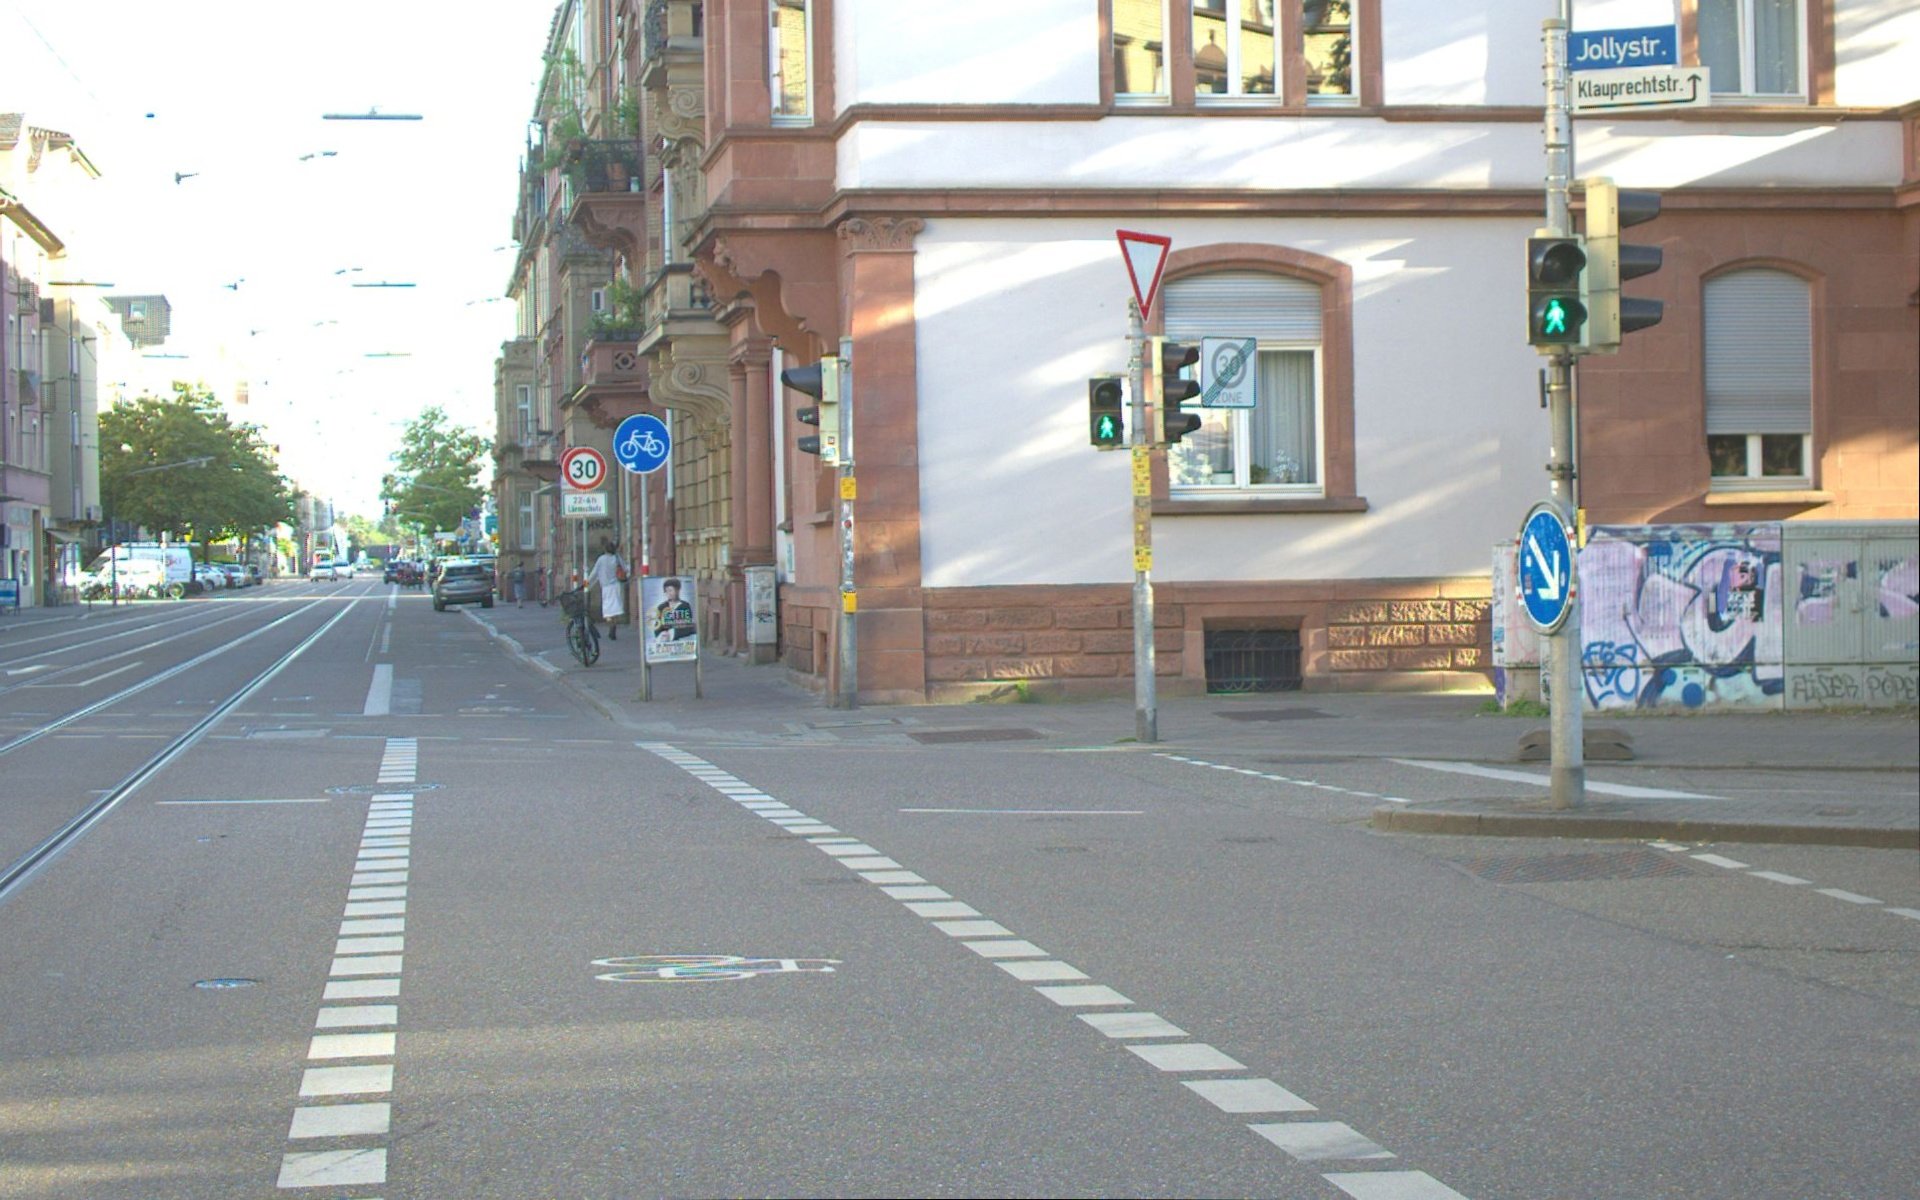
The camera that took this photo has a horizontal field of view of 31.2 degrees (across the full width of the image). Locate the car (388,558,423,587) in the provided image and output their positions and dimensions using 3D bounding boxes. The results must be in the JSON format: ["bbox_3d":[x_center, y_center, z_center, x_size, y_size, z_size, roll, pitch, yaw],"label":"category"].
[{"bbox_3d":[-32.864,-1.610,203.621,1.993,1.722,4.001,0,0,-10],"label":"car"}]

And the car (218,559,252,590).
[{"bbox_3d":[-47.211,-1.665,223.881,1.993,2.007,4.001,-1,1,-10],"label":"car"}]

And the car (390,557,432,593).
[{"bbox_3d":[-26.611,-1.210,166.588,1.993,1.722,4.001,0,0,-10],"label":"car"}]

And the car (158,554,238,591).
[{"bbox_3d":[-43.749,-1.578,197.311,3.987,2.007,2.000,-1,1,-33],"label":"car"}]

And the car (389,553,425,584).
[{"bbox_3d":[-31.462,-1.771,195.608,1.993,1.722,4.001,0,0,-10],"label":"car"}]

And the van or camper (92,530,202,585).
[{"bbox_3d":[-38.410,-1.983,162.419,4.636,2.554,1.999,-1,0,-40],"label":"van or camper"}]

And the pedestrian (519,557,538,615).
[{"bbox_3d":[-13.414,-0.438,106.935,0.544,1.774,0.749,-1,1,-8],"label":"pedestrian"}]

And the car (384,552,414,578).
[{"bbox_3d":[-38.359,-2.384,235.056,1.993,1.722,4.001,0,0,-10],"label":"car"}]

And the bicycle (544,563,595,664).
[{"bbox_3d":[-5.281,0.167,46.494,0.653,1.319,2.177,-1,1,-7],"label":"bicycle"}]

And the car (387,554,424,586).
[{"bbox_3d":[-30.759,-1.651,190.626,1.993,1.722,4.001,0,0,-10],"label":"car"}]

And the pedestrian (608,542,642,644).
[{"bbox_3d":[-5.879,-0.125,60.238,0.544,1.774,0.504,-1,1,-8],"label":"pedestrian"}]

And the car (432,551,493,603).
[{"bbox_3d":[-16.617,-0.782,114.932,1.949,1.678,4.001,-1,1,-8],"label":"car"}]
